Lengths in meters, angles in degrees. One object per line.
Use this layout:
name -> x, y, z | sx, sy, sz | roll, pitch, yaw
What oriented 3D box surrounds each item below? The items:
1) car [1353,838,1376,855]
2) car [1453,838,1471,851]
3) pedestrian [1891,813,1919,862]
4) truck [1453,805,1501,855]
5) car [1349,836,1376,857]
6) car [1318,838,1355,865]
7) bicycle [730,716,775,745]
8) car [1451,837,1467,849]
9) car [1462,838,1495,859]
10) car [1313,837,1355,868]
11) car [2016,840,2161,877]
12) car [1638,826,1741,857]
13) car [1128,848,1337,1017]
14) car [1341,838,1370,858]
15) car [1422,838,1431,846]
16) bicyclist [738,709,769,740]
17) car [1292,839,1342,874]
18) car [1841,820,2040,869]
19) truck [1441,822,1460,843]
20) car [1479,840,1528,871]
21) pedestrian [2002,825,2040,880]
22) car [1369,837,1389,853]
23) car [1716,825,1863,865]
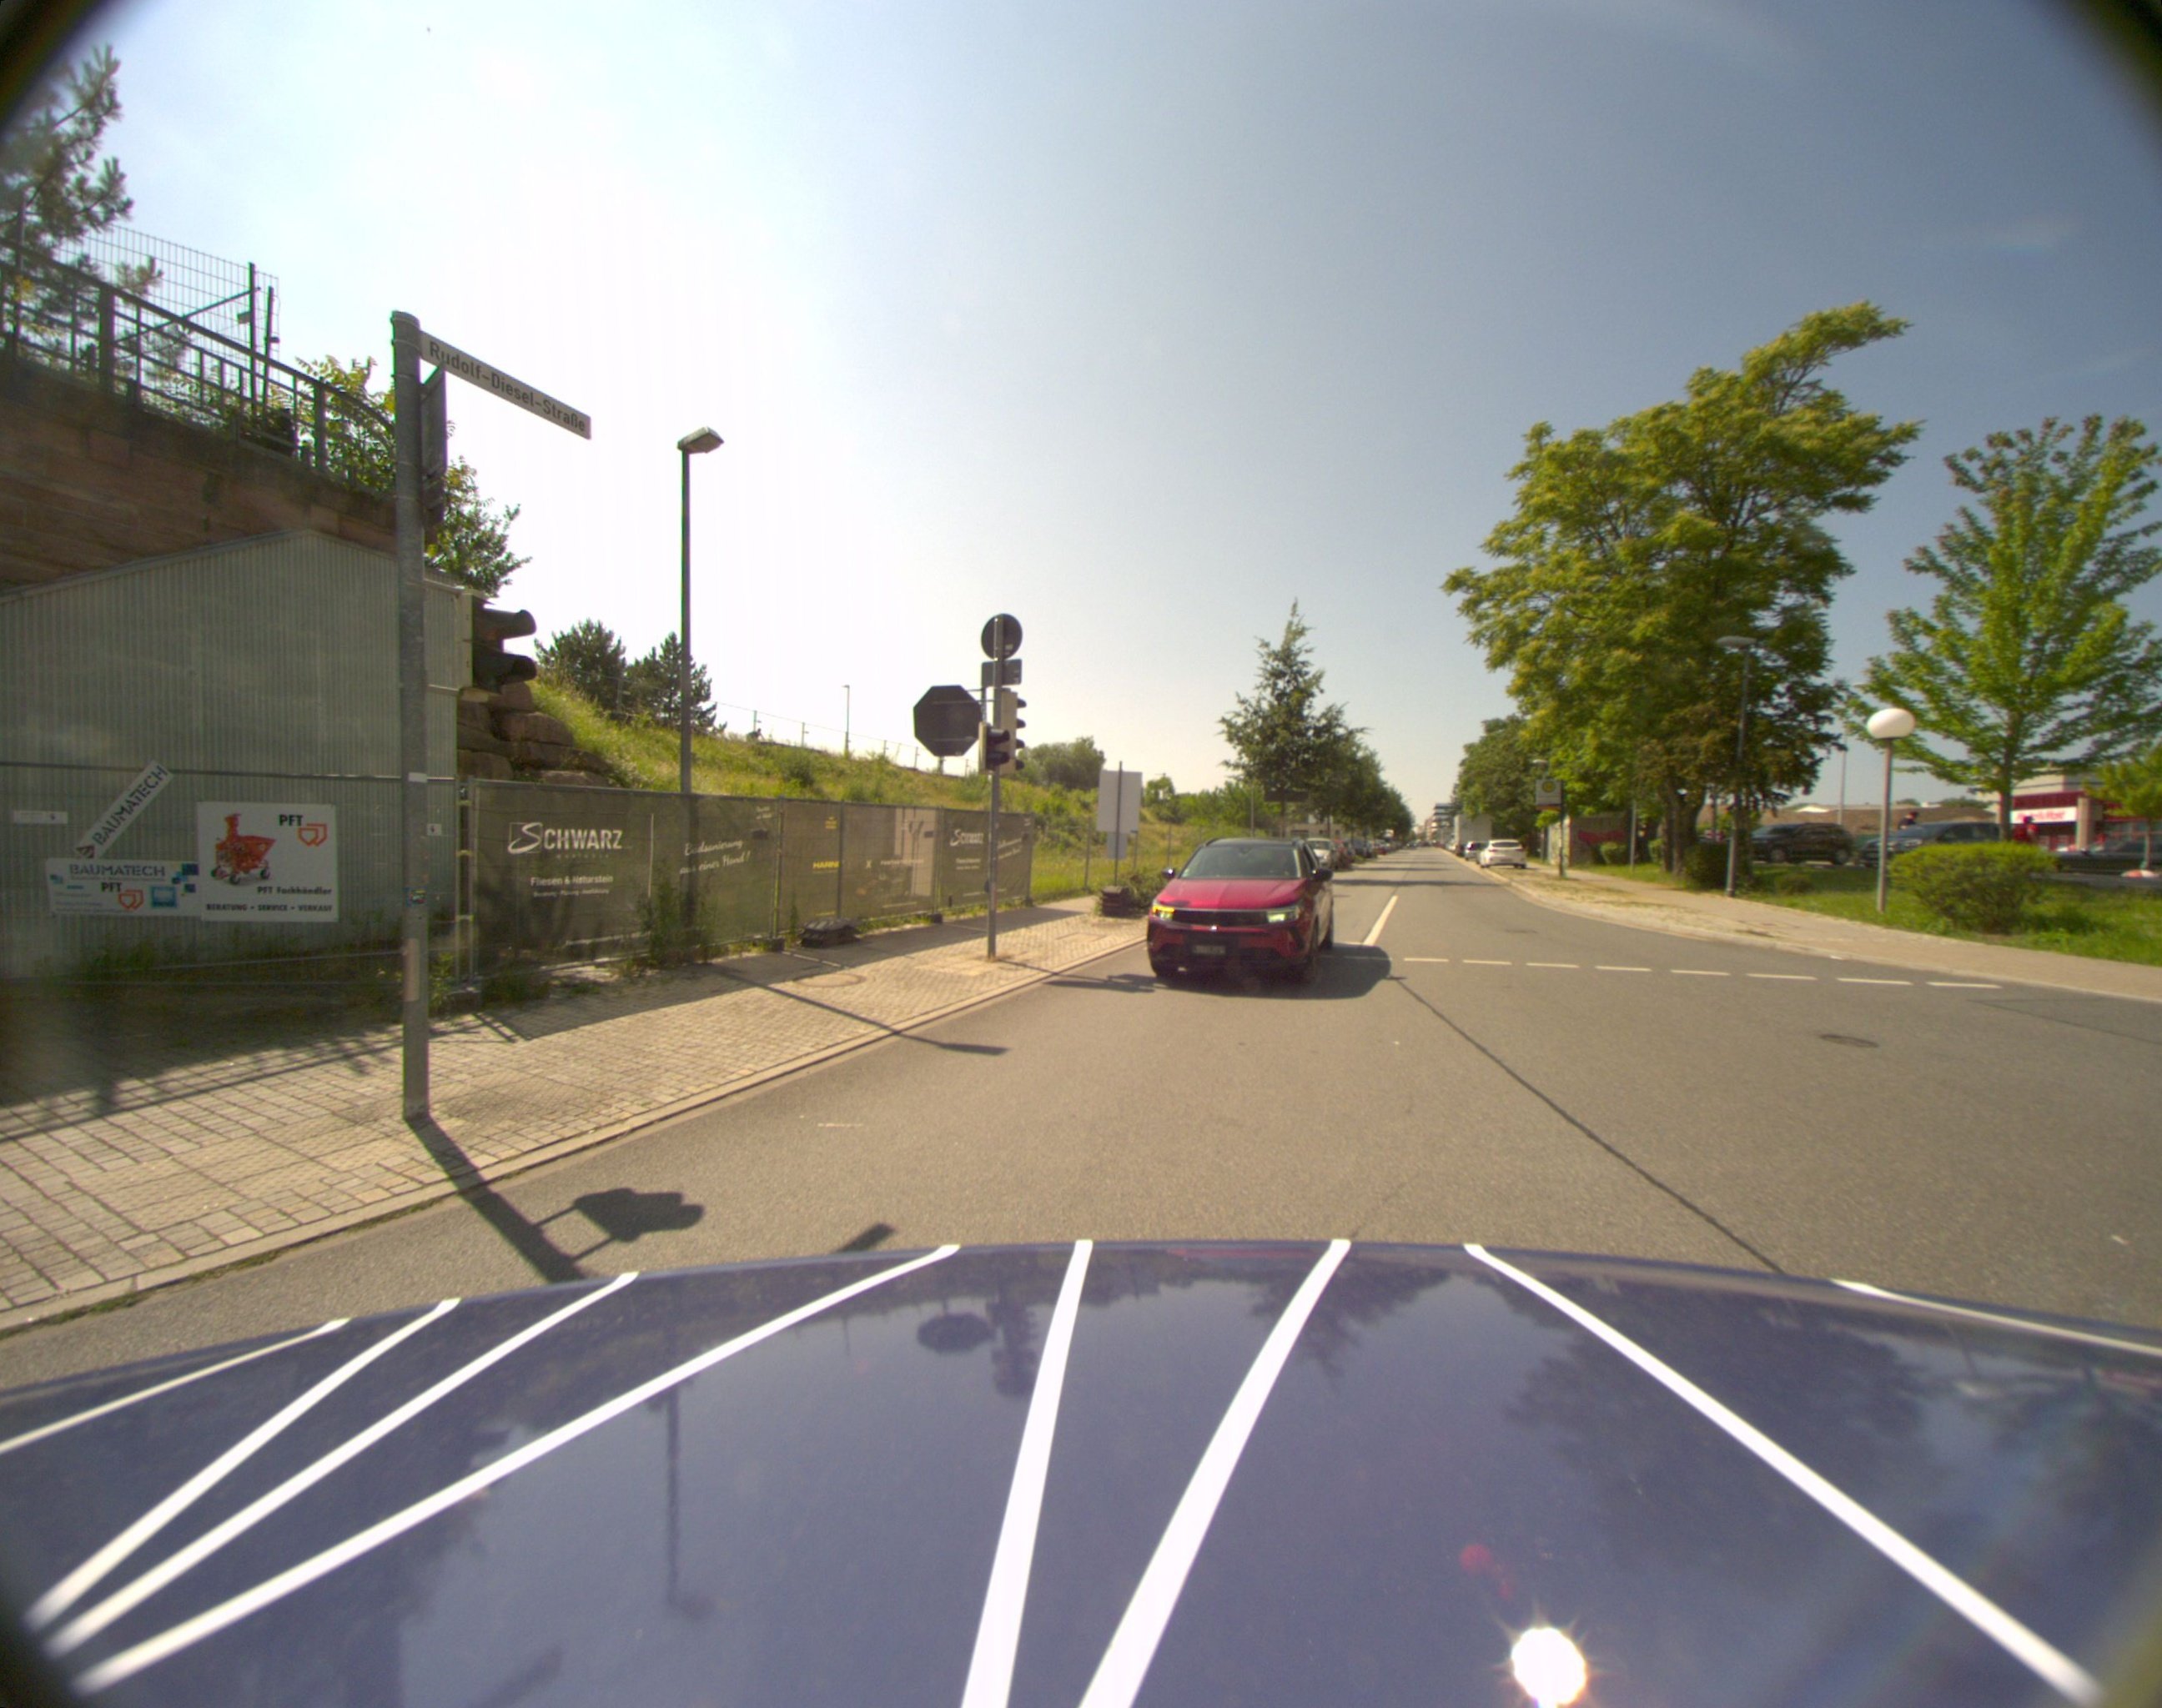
car -> 28.216, -0.769, 75.530 | 1.843, 1.607, 4.006 | 2, 2, 24
car -> 45.123, -1.172, 90.066 | 1.811, 1.506, 4.006 | -1, 1, 25
pedestrian -> 26.508, -0.530, 24.449 | 0.758, 1.518, 0.563 | -1, 2, -44
truck -> 35.066, -2.040, 67.602 | 3.347, 4.119, 9.292 | 0, 1, 25
car -> 24.003, -0.656, 64.718 | 1.843, 1.607, 4.006 | 3, 2, 24
car -> 16.883, -0.184, 50.077 | 1.843, 1.607, 4.006 | 3, 2, 24
bicycle -> -16.974, -6.377, 39.375 | 0.935, 1.206, 2.176 | -1, 2, 15
car -> 49.800, -1.418, 100.095 | 1.811, 1.506, 4.006 | -1, 1, 25
car -> 29.297, -0.432, 56.124 | 1.811, 1.506, 4.006 | -1, 1, 23
car -> 14.358, -0.120, 43.004 | 1.843, 1.607, 4.006 | 3, 2, 24
car -> 43.277, 0.147, 32.209 | 1.725, 1.443, 4.231 | 0, 1, -23
car -> 35.950, -0.735, 44.921 | 4.716, 1.793, 1.999 | 0, 1, -6
car -> 2.149, 0.753, 9.604 | 1.818, 1.594, 4.313 | -1, 1, 22
car -> 21.341, -0.503, 58.970 | 1.865, 1.533, 4.006 | 1, 1, 23
car -> 80.101, -2.802, 176.040 | 1.787, 1.784, 4.006 | 1, 1, 25
bicyclist -> -16.980, -6.687, 39.387 | 0.951, 1.380, 1.064 | -1, 2, 15
car -> 12.216, 0.074, 39.188 | 1.843, 1.607, 4.377 | 4, 2, 24
car -> 25.951, -0.285, 23.052 | 3.986, 1.330, 1.718 | -1, 1, 3
truck -> 61.215, -3.571, 125.844 | 2.697, 3.301, 7.355 | 1, 1, 27
car -> 21.432, 0.059, 38.659 | 1.762, 1.484, 4.006 | -1, 1, 23
pedestrian -> 26.567, -0.057, 21.480 | 0.758, 1.518, 0.563 | -1, 2, -33
car -> 32.669, -0.978, 83.296 | 1.843, 1.607, 4.006 | 2, 2, 24
car -> 28.982, -0.380, 31.135 | 4.816, 1.484, 1.851 | -1, 1, -9
